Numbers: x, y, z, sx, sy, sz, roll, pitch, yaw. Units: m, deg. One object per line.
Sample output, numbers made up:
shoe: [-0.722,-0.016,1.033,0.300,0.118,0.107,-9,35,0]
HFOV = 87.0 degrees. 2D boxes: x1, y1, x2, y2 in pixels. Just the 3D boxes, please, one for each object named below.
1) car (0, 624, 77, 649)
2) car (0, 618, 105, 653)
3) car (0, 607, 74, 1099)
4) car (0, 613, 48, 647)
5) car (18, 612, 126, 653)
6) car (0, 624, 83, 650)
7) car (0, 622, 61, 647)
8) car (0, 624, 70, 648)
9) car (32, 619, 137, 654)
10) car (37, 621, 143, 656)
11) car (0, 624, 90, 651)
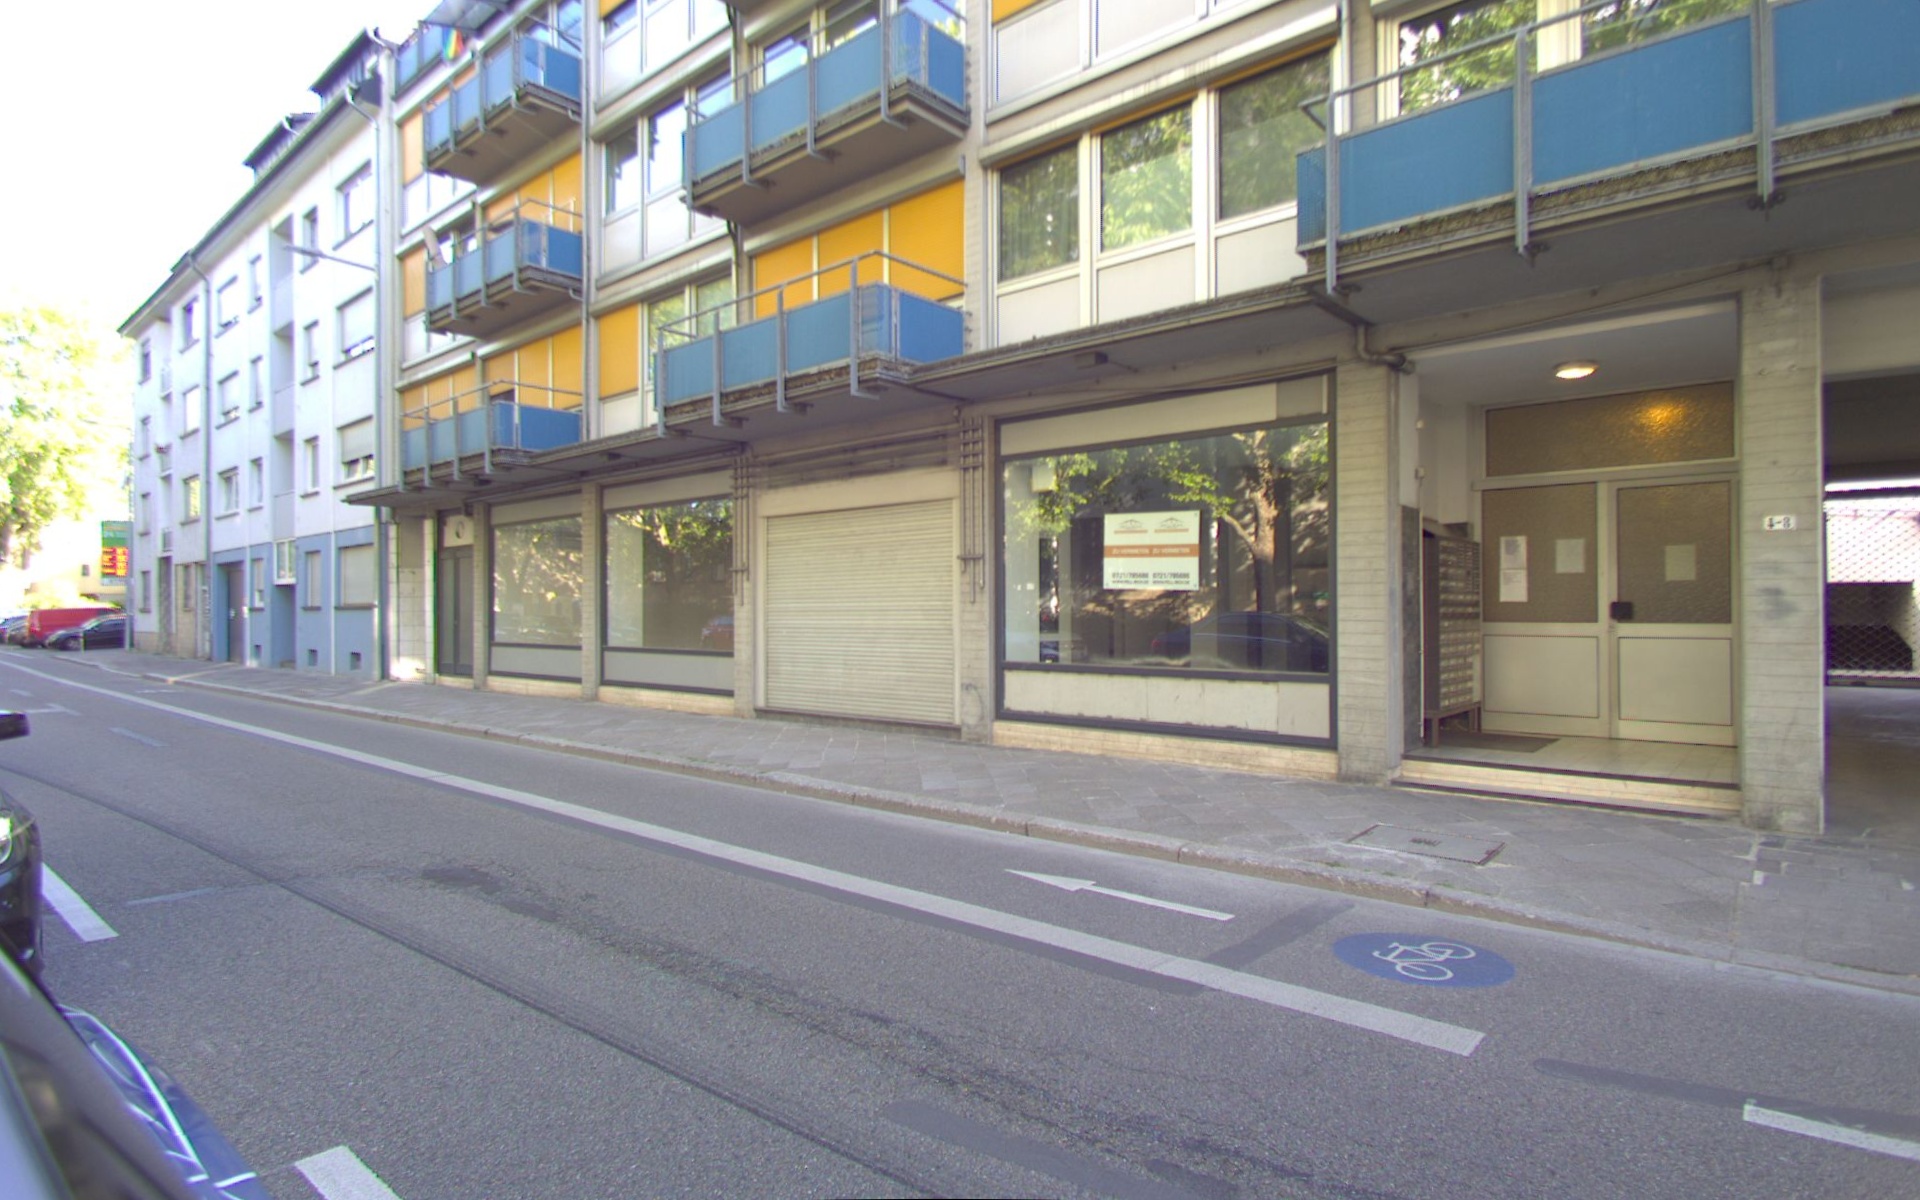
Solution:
car: [-55.394,2.173,60.447,1.525,1.343,3.854,-1,0,42]
car: [-46.068,1.778,51.412,1.603,1.598,3.854,-1,0,42]
car: [-5.072,0.809,3.954,4.291,1.515,1.805,-1,0,40]
car: [-62.729,1.962,66.597,1.725,2.193,3.854,-1,0,42]
car: [-43.720,1.563,49.874,1.749,1.921,3.854,-1,-1,42]
car: [-53.378,2.112,58.569,1.594,1.385,3.854,-1,0,42]
car: [-59.230,2.184,63.766,1.539,1.451,3.733,-1,0,42]
car: [-57.200,2.196,62.009,1.525,1.343,3.854,-1,0,42]
car: [-41.527,1.699,48.057,1.602,1.521,3.620,-1,0,42]
car: [-39.809,1.745,46.360,1.534,1.420,3.551,-2,-1,42]
car: [-51.864,2.093,57.229,1.594,1.385,3.854,-1,0,42]
